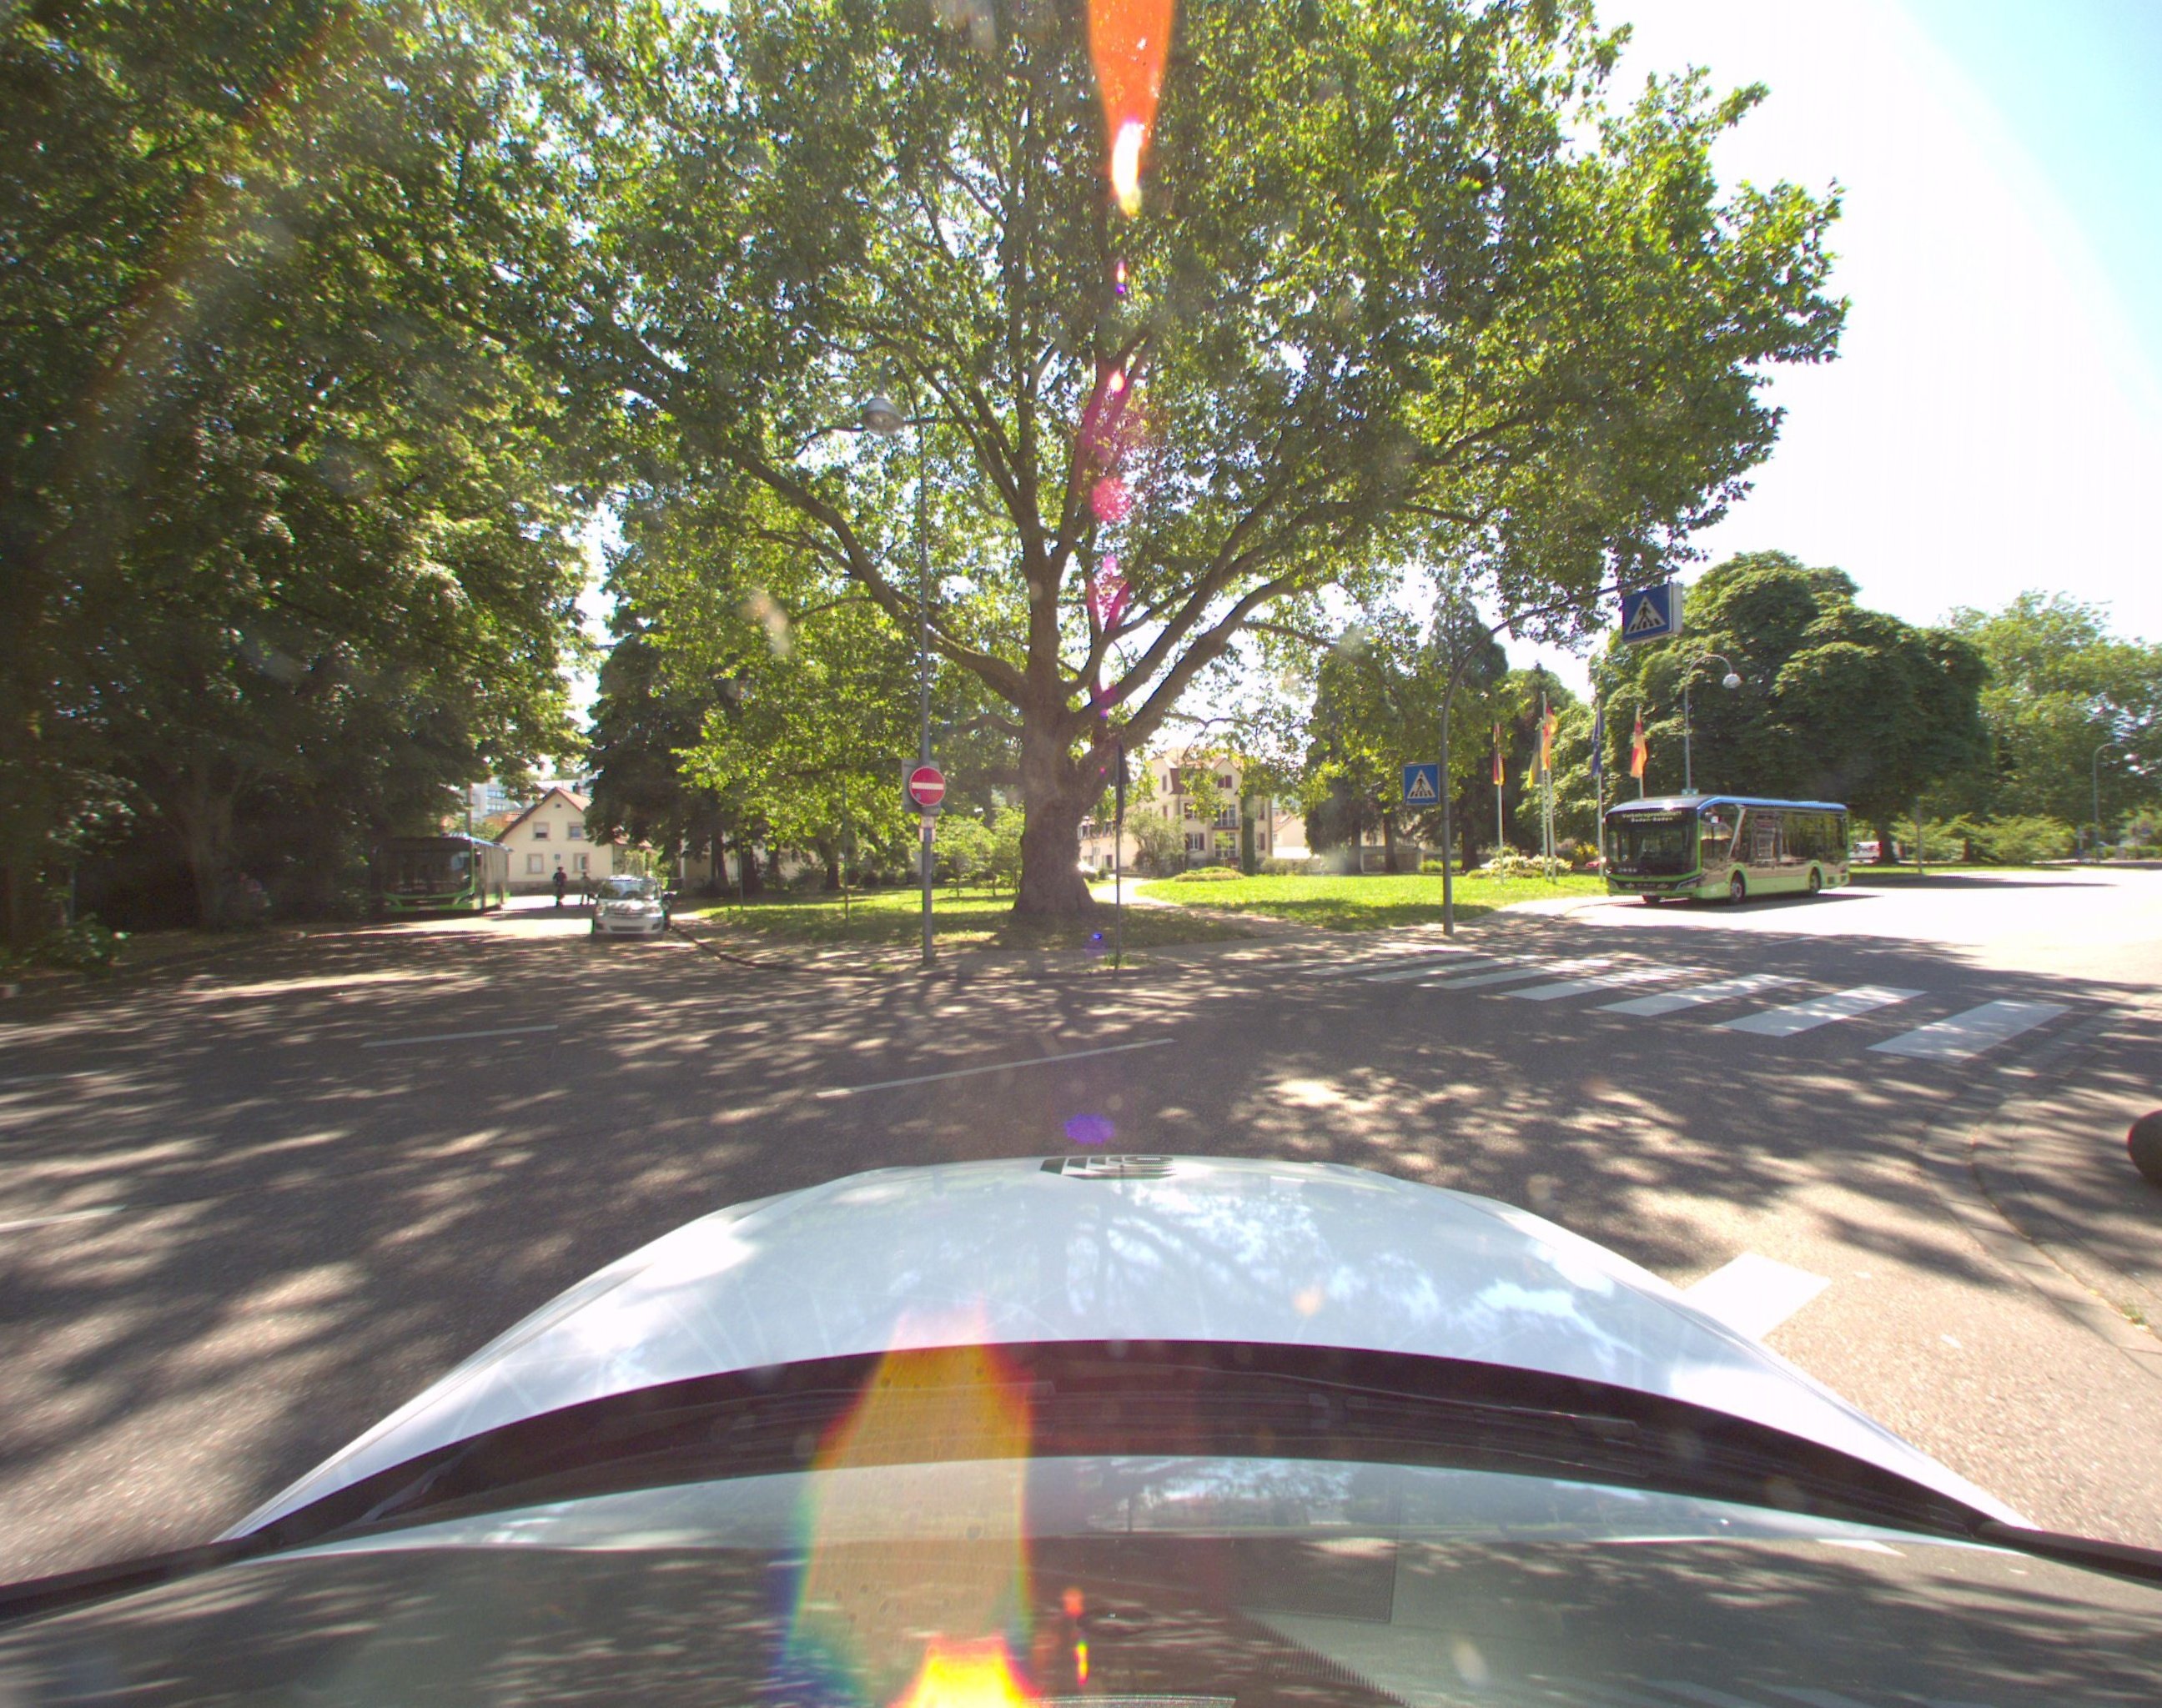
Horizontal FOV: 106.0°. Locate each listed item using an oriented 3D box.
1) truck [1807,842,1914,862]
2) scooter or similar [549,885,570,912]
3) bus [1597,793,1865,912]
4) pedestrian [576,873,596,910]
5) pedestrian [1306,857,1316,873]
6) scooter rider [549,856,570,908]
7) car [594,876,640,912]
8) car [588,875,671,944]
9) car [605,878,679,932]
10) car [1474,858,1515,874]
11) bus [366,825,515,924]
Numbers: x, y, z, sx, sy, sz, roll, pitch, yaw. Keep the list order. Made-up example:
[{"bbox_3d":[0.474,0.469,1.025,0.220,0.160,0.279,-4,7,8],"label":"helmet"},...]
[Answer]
[{"bbox_3d":[98.502,-0.205,103.266,2.272,2.349,11.354,-1,-1,-3],"label":"truck"},{"bbox_3d":[-24.019,2.053,37.531,0.743,1.183,1.504,-1,-1,-30],"label":"scooter or similar"},{"bbox_3d":[21.806,-0.086,26.920,12.466,3.283,2.790,-1,-1,-31],"label":"bus"},{"bbox_3d":[-24.653,1.863,40.554,0.723,1.802,0.933,0,-1,-25],"label":"pedestrian"},{"bbox_3d":[20.486,0.990,72.523,0.818,1.371,0.621,1,0,19],"label":"pedestrian"},{"bbox_3d":[-24.034,1.278,37.554,0.743,2.318,0.918,-1,-1,-30],"label":"scooter rider"},{"bbox_3d":[-21.428,1.808,37.587,1.766,1.493,3.879,0,-1,-31],"label":"car"},{"bbox_3d":[-10.953,1.257,19.722,1.605,1.497,3.451,1,-2,-30],"label":"car"},{"bbox_3d":[-13.292,1.463,24.542,1.761,1.439,4.459,1,-2,-30],"label":"car"},{"bbox_3d":[46.682,1.393,91.951,4.000,1.751,1.864,1,1,-20],"label":"car"},{"bbox_3d":[-26.679,0.854,34.797,2.886,3.295,15.794,0,-1,-30],"label":"bus"}]
